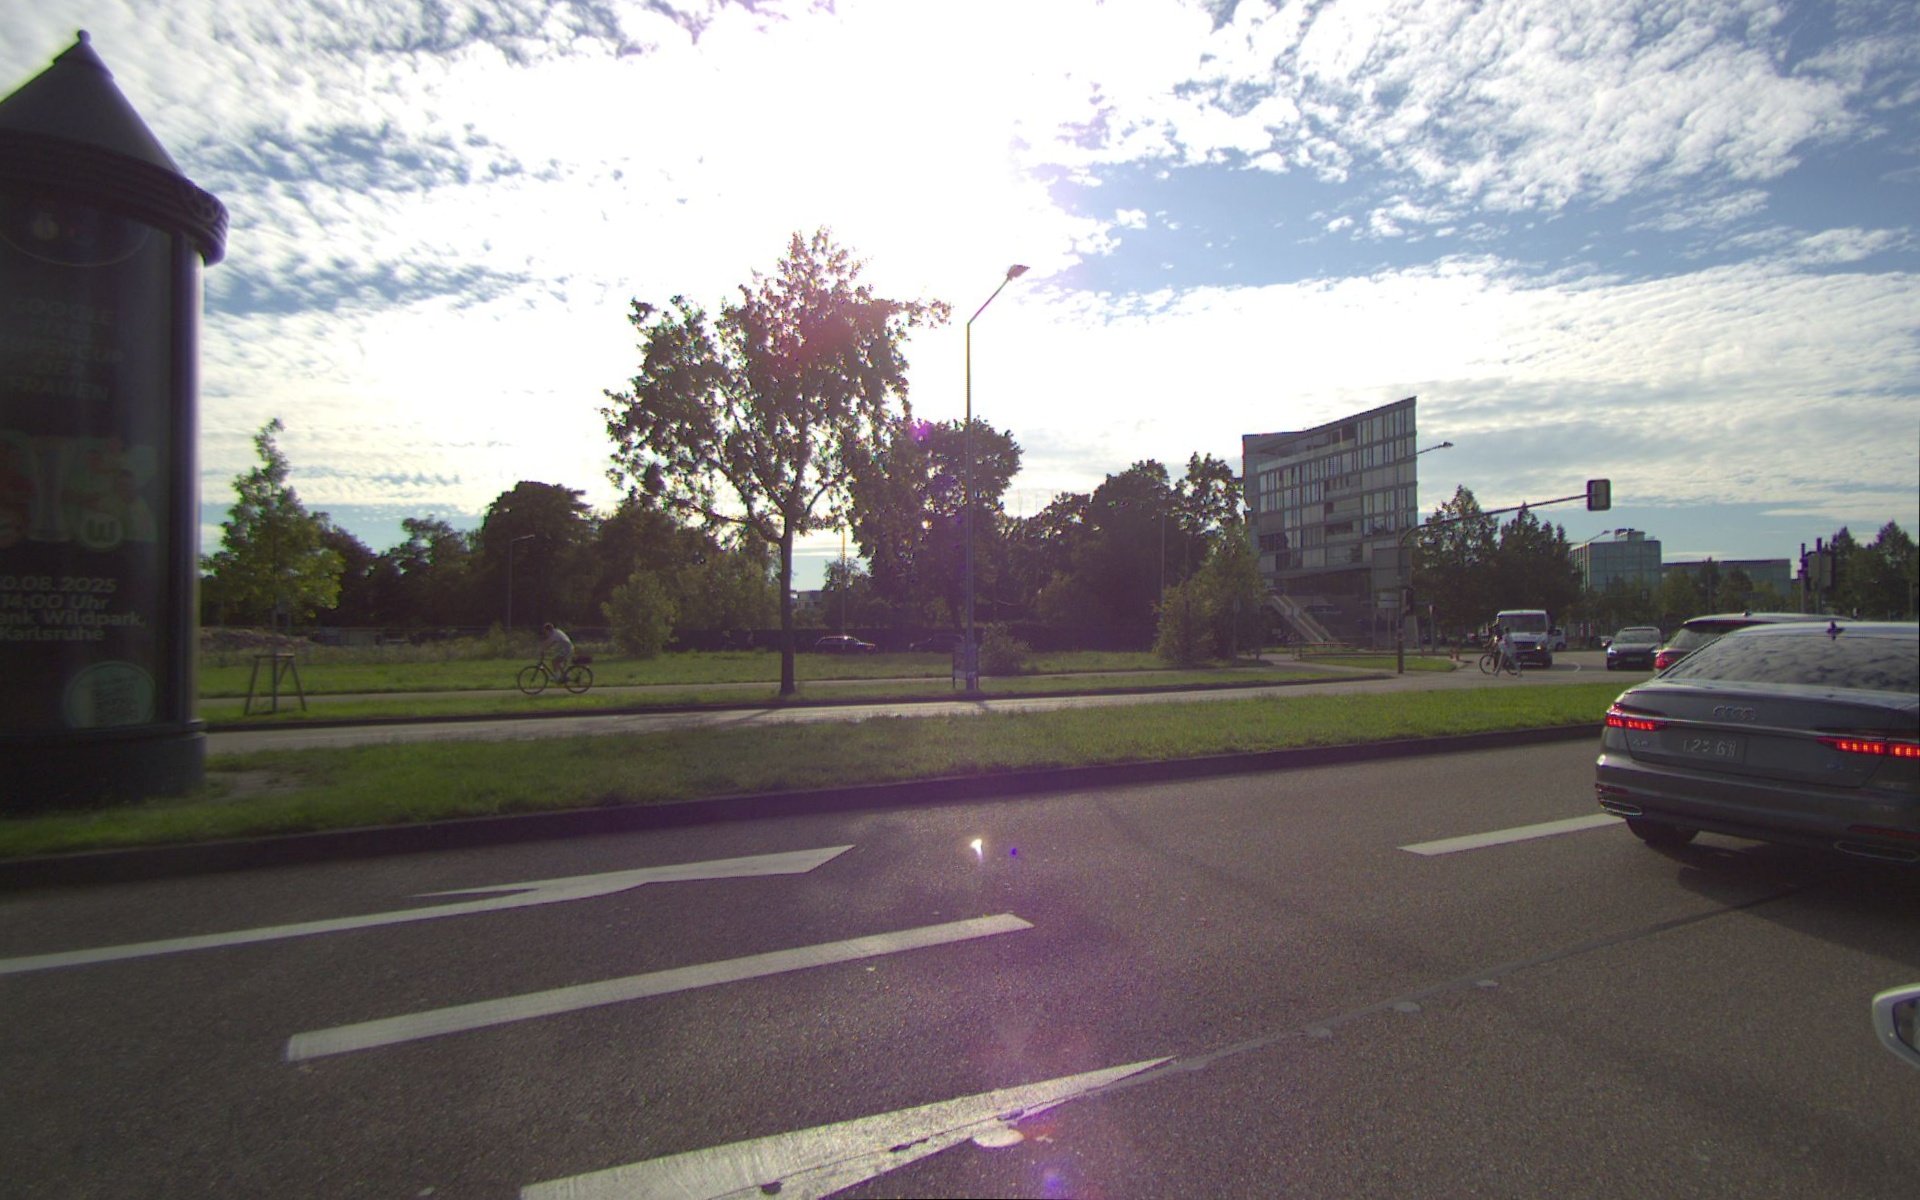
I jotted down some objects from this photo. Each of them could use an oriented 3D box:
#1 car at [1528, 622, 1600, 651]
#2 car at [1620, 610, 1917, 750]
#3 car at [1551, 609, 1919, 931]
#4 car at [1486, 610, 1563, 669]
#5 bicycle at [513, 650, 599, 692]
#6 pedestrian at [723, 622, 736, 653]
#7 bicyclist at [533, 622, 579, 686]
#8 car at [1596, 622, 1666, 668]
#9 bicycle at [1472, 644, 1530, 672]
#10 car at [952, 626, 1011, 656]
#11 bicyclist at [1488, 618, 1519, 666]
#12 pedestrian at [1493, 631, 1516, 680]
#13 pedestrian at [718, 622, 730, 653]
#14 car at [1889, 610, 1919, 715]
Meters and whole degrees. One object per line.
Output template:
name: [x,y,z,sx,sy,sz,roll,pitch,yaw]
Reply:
car: [43.853,2.700,72.942,4.154,2.040,1.828,1,-3,-3]
car: [10.564,0.941,13.077,3.971,1.579,1.721,1,-1,-30]
car: [6.068,0.846,6.536,4.559,1.502,1.881,1,-1,-31]
car: [23.308,1.647,41.378,1.968,2.264,5.903,-3,-4,37]
bicycle: [-10.059,1.750,25.013,1.889,0.994,0.891,1,-2,-31]
pedestrian: [-15.436,2.513,67.232,0.723,2.040,0.739,0,-2,-6]
bicyclist: [-10.047,1.337,24.990,0.978,1.546,0.702,1,-2,-30]
car: [24.850,1.683,37.162,1.685,1.593,3.981,-4,-4,40]
bicycle: [19.089,2.032,35.469,0.638,0.980,1.664,1,-2,-34]
car: [1.605,2.988,74.173,3.919,2.040,2.001,2,-1,13]
bicyclist: [19.141,1.474,35.402,0.544,1.690,0.783,1,-2,-34]
pedestrian: [18.118,1.829,33.442,0.644,1.589,0.615,0,-1,27]
pedestrian: [-15.573,2.506,66.369,0.675,2.040,0.641,0,-2,-5]
car: [16.365,0.950,15.660,3.831,1.585,1.713,0,0,-30]
